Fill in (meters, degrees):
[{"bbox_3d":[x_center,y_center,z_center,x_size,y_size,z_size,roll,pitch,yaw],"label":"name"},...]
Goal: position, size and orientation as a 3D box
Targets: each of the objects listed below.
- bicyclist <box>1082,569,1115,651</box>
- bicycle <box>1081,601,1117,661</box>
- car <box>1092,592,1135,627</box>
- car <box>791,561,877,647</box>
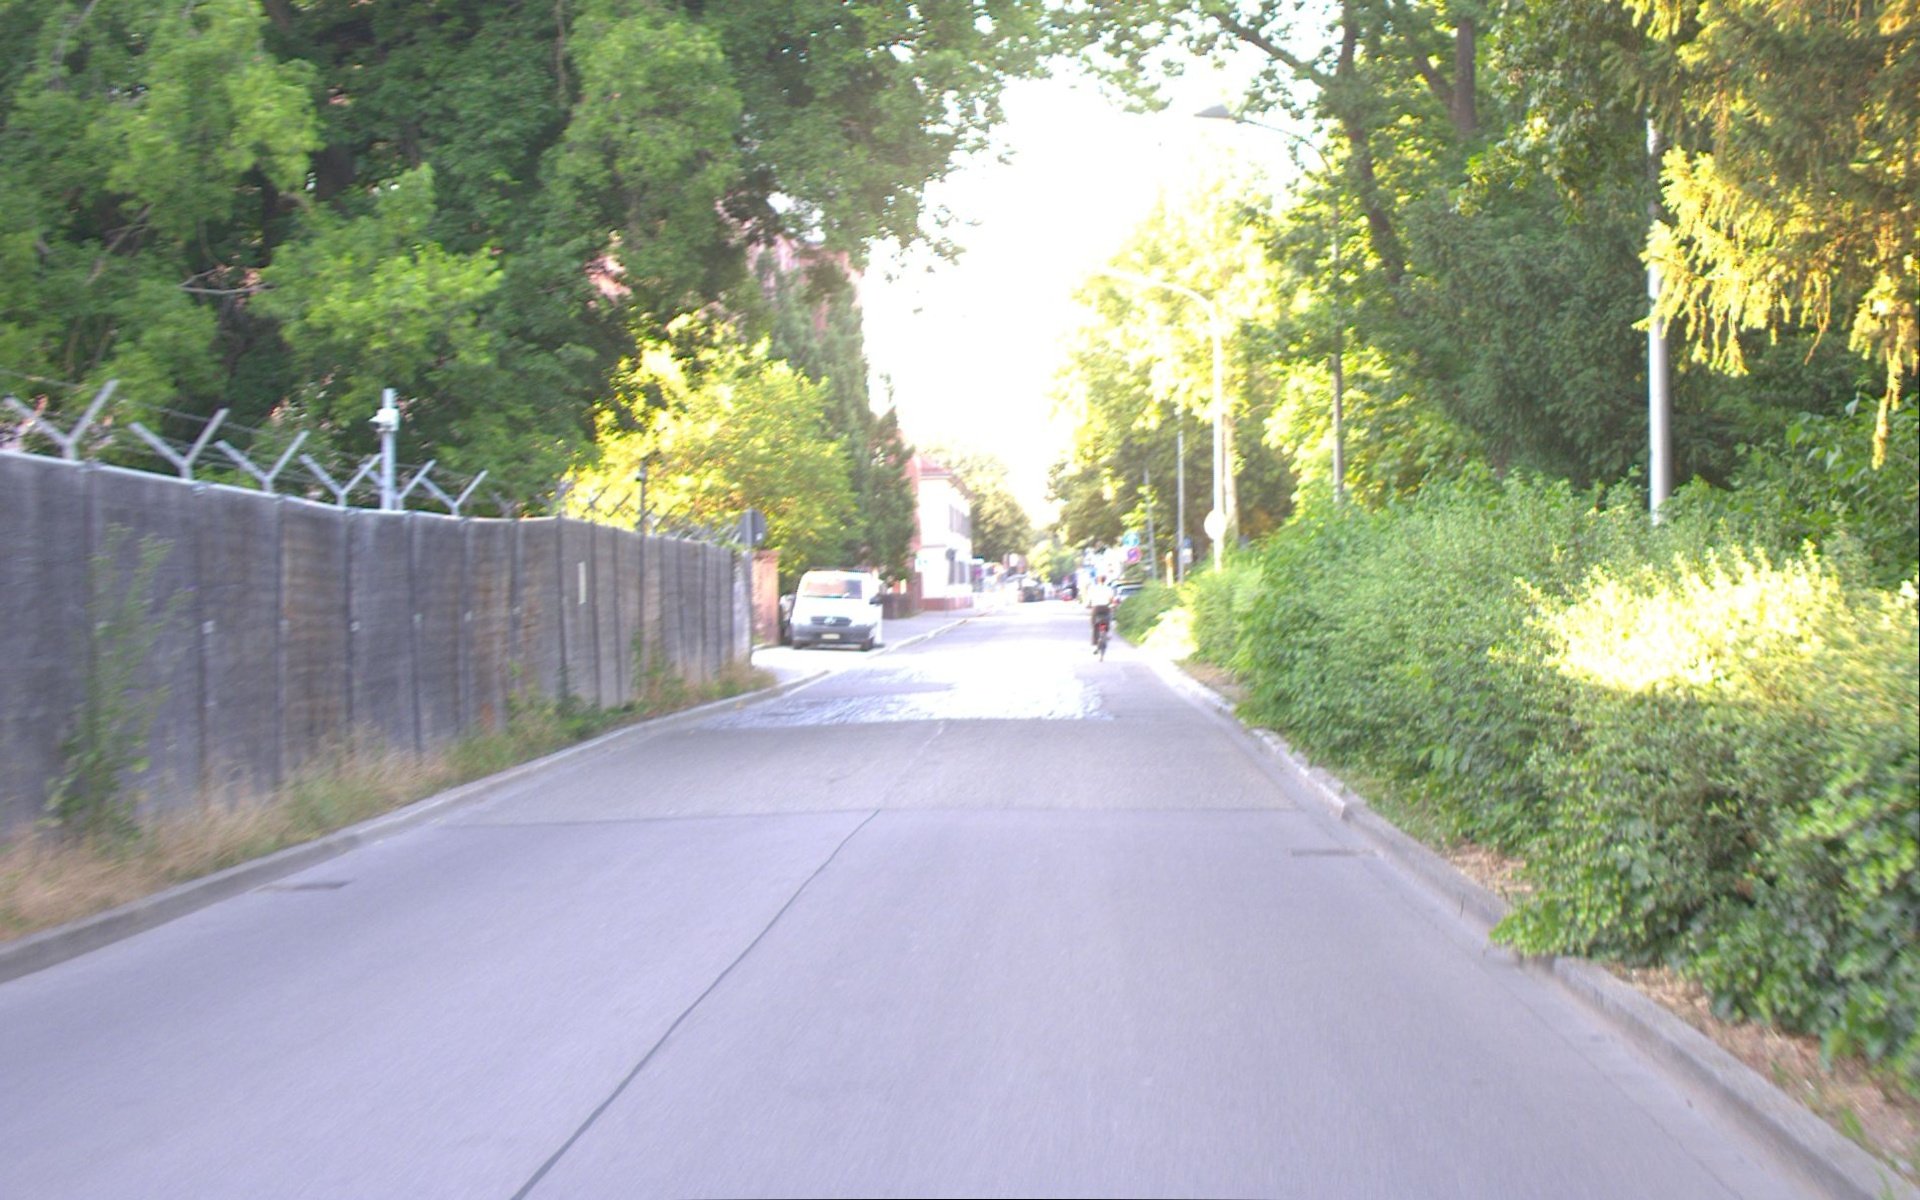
[{"bbox_3d":[2.836,0.203,70.419,0.639,1.662,0.843,1,0,0],"label":"bicyclist"},{"bbox_3d":[2.831,0.629,70.264,0.638,1.189,1.876,1,0,0],"label":"bicycle"},{"bbox_3d":[6.969,0.436,156.586,1.715,1.532,4.048,-1,0,0],"label":"car"},{"bbox_3d":[-3.043,0.136,83.900,1.882,2.007,5.226,1,-1,0],"label":"car"}]
